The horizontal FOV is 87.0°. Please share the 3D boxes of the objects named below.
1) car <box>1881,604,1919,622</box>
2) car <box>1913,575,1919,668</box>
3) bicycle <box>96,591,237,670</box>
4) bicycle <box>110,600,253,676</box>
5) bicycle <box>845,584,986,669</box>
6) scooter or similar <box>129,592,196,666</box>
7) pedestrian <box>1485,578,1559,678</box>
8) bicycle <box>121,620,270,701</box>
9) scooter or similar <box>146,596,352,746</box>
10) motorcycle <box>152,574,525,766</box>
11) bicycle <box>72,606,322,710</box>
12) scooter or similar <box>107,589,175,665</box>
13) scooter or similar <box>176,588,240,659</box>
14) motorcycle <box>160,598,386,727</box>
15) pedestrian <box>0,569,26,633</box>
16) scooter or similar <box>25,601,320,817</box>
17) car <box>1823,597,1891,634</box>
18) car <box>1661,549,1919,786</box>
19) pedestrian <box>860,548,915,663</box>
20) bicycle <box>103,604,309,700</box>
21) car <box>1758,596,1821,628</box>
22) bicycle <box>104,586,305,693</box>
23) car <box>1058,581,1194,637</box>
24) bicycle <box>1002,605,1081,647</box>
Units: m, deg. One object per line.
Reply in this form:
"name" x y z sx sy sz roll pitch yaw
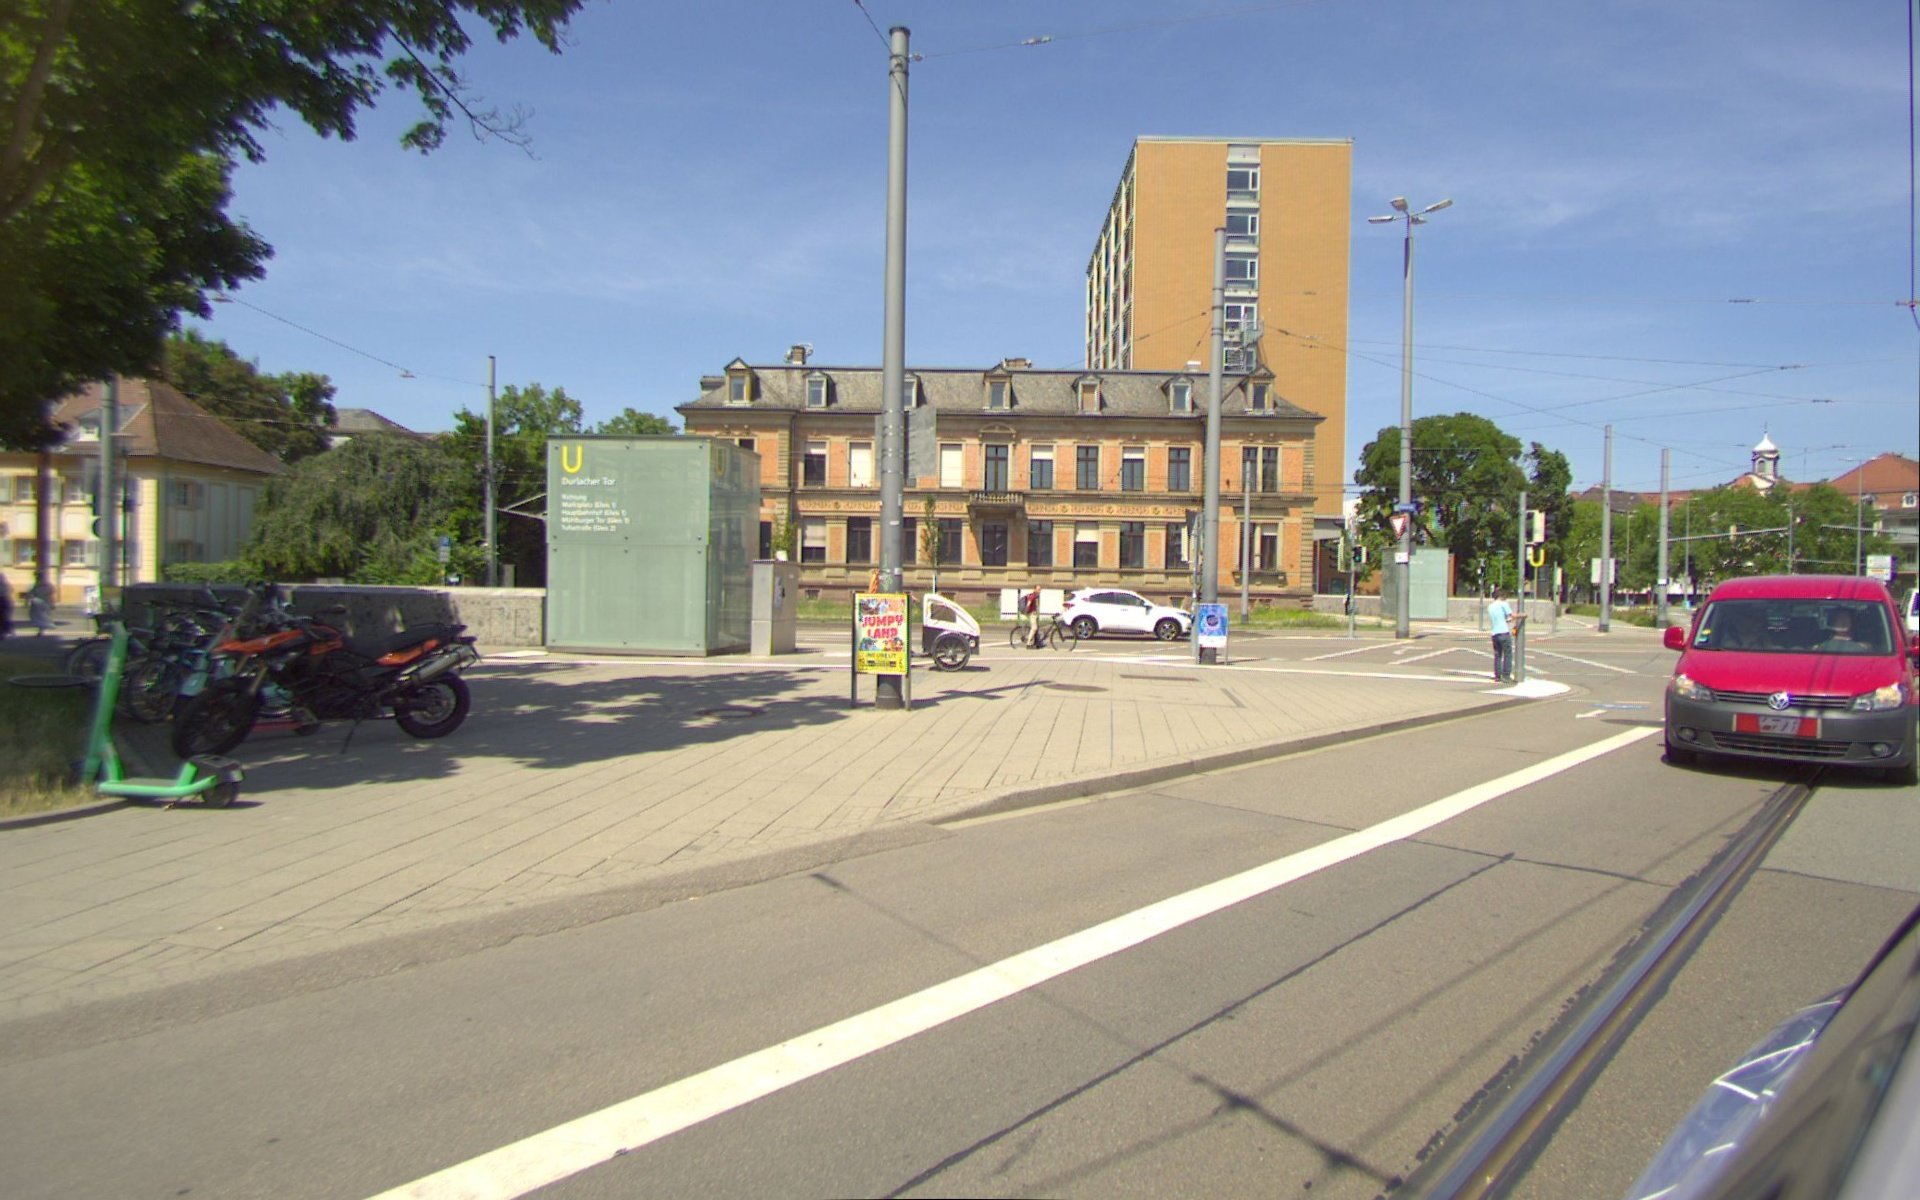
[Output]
"car" 84.098 1.134 90.461 1.517 1.477 2.971 1 1 17
"car" 22.286 0.465 22.260 1.870 1.990 3.762 1 1 44
"bicycle" -10.501 0.392 13.441 1.399 1.004 0.457 1 0 -27
"bicycle" -11.103 0.513 14.484 0.500 1.004 1.552 1 1 31
"bicycle" -0.677 0.402 16.265 2.180 1.266 1.099 1 0 2
"scooter or similar" -12.606 0.445 15.992 0.972 1.140 0.267 1 0 12
"pedestrian" 10.373 0.499 18.693 0.856 1.802 0.811 1 0 -12
"bicycle" -9.426 0.721 12.514 0.455 0.917 1.407 1 1 41
"scooter or similar" -6.170 0.568 8.839 0.599 1.166 1.362 1 2 36
"motorcycle" -5.064 0.486 8.431 2.553 1.379 0.764 0 1 -44
"bicycle" -8.020 0.565 10.710 2.047 0.977 0.646 0 1 -44
"scooter or similar" -12.675 0.409 15.666 0.972 1.140 0.267 1 0 12
"scooter or similar" -12.431 0.386 16.732 0.972 1.140 0.267 1 0 12
"motorcycle" -6.588 0.550 9.756 1.718 1.110 0.691 0 1 -44
"pedestrian" -22.185 0.011 23.415 0.604 1.461 0.584 1 0 6
"scooter or similar" -4.829 0.609 6.226 1.505 1.170 0.711 1 0 18
"car" 36.702 0.601 41.474 1.561 1.371 3.417 1 1 34
"car" 8.191 0.502 9.919 1.749 1.835 4.036 1 1 41
"pedestrian" -1.154 0.073 16.258 0.809 1.797 0.814 0 1 2
"bicycle" -8.417 0.542 11.343 1.807 0.977 0.646 0 1 -42
"car" 48.354 0.683 59.109 1.981 1.746 3.963 1 1 27
"bicycle" -8.905 0.430 11.990 0.645 1.161 1.811 1 1 41
"car" 5.179 0.243 31.893 4.106 1.625 1.704 1 1 8
"bicycle" 2.132 0.659 26.340 1.988 1.018 0.724 1 0 12
